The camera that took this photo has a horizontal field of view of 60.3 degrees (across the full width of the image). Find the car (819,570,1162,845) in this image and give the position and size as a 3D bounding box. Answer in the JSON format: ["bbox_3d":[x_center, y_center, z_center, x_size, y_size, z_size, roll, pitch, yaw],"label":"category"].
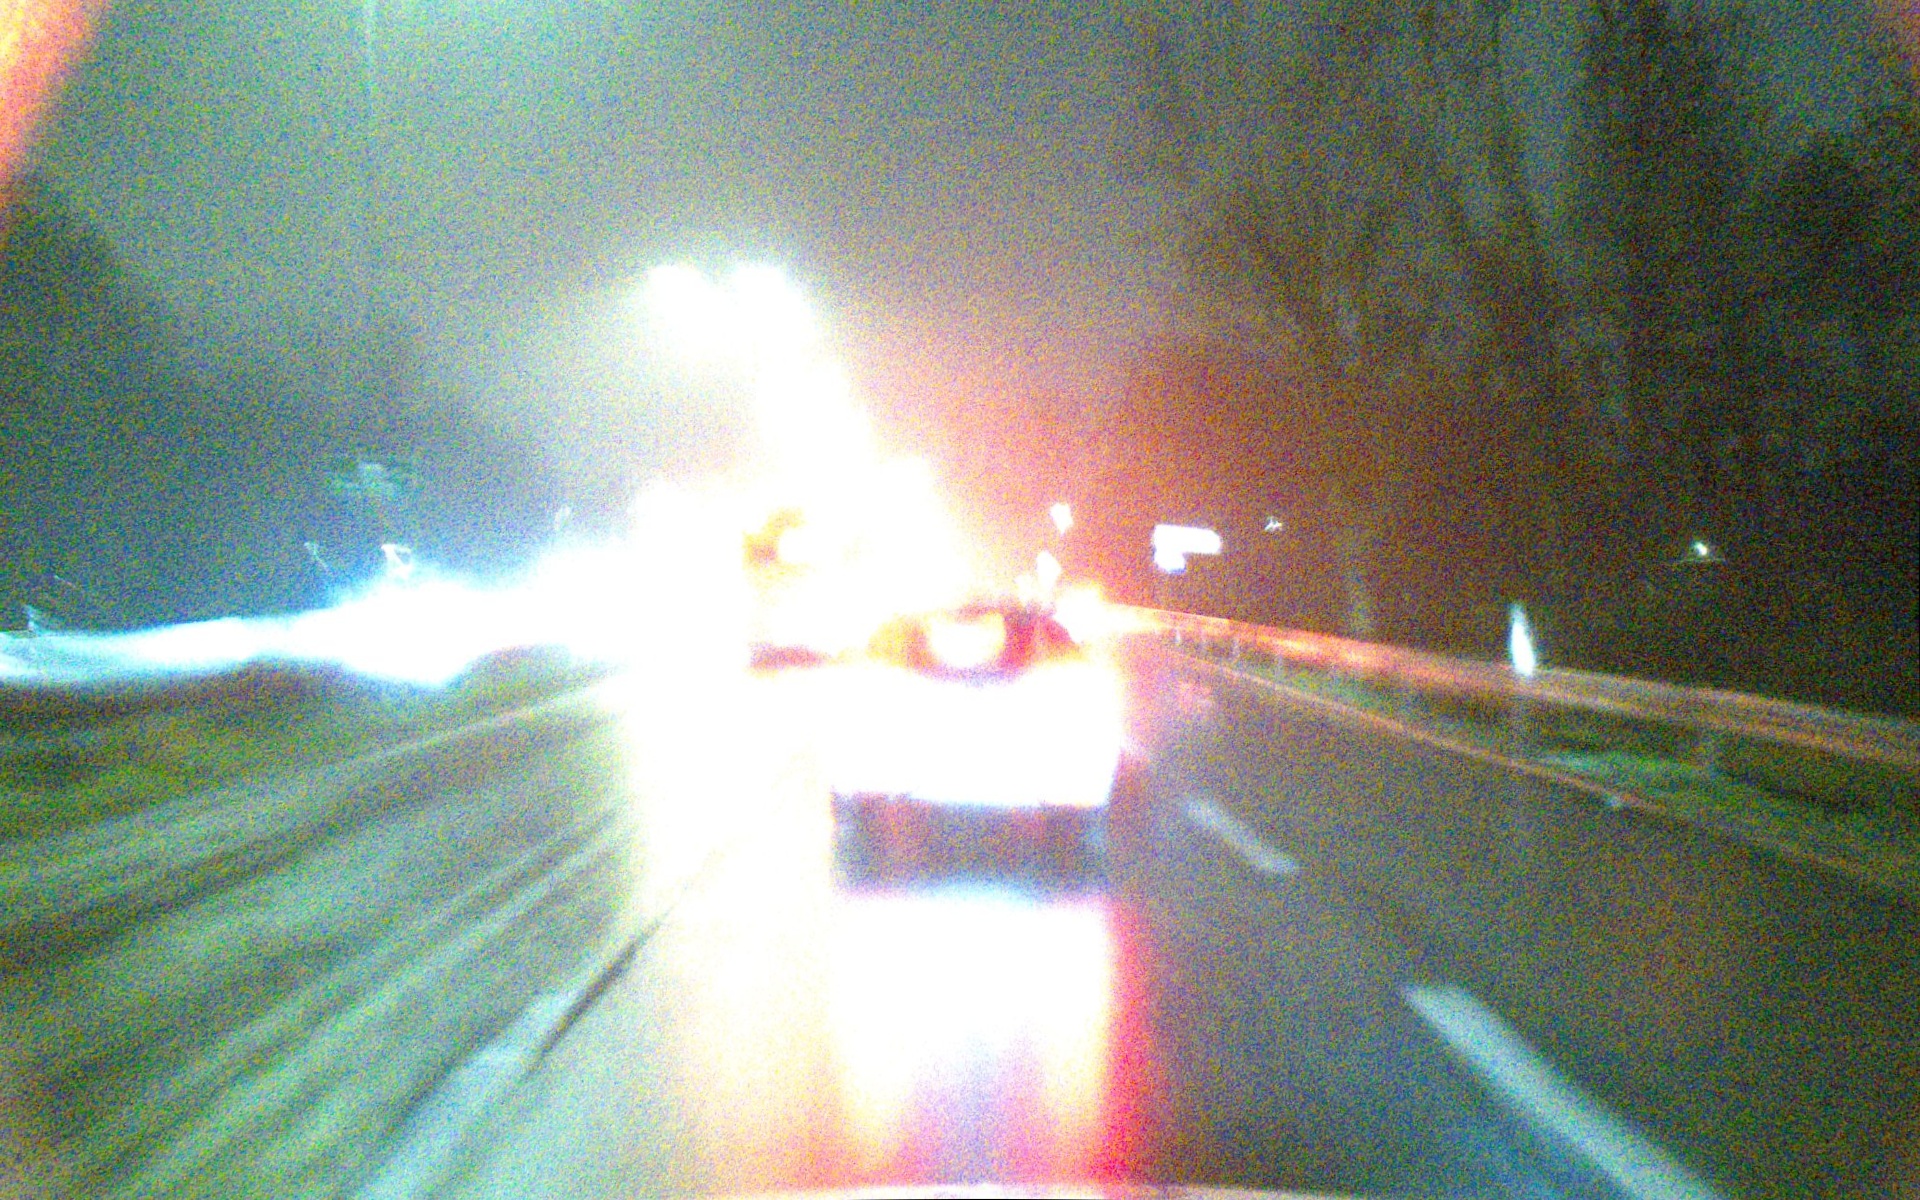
[{"bbox_3d":[0.153,0.607,11.137,1.905,1.517,3.715,1,0,-1],"label":"car"}]

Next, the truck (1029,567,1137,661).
[{"bbox_3d":[3.647,0.444,50.704,3.006,2.573,7.168,2,-1,2],"label":"truck"}]

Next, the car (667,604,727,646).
[{"bbox_3d":[-12.168,1.152,76.867,2.121,1.805,4.703,2,-1,-2],"label":"car"}]

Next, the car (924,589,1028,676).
[{"bbox_3d":[0.277,0.570,30.508,1.784,1.487,3.715,1,0,0],"label":"car"}]

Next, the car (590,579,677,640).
[{"bbox_3d":[-10.429,0.331,53.191,1.953,1.805,4.703,2,-1,-2],"label":"car"}]

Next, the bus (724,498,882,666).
[{"bbox_3d":[-3.272,-0.391,36.798,2.688,3.178,9.199,2,1,-1],"label":"bus"}]

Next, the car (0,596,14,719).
[{"bbox_3d":[-13.141,0.687,19.617,1.567,1.579,3.833,2,-1,0],"label":"car"}]

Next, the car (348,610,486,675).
[{"bbox_3d":[-14.010,1.086,43.019,1.982,1.528,4.895,2,-1,-1],"label":"car"}]
